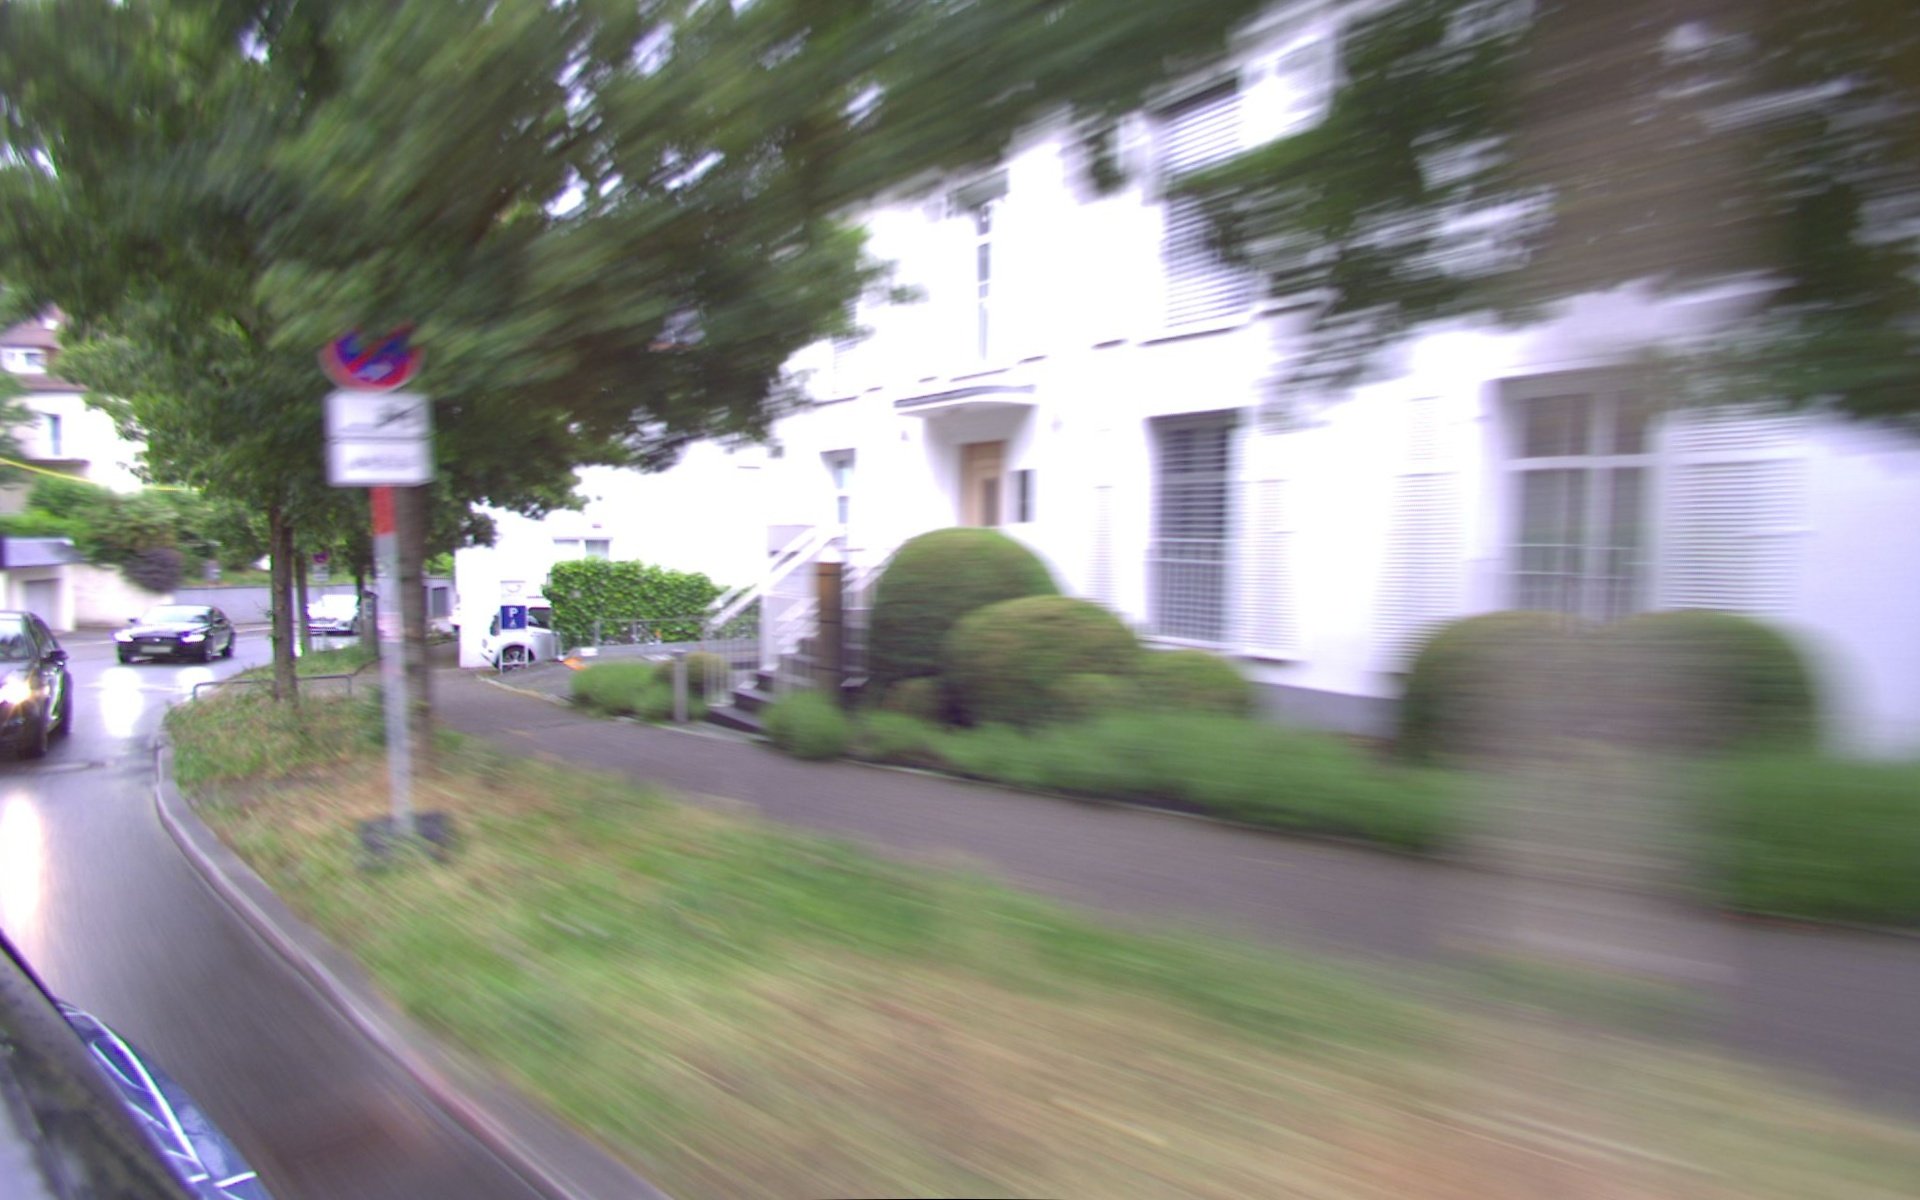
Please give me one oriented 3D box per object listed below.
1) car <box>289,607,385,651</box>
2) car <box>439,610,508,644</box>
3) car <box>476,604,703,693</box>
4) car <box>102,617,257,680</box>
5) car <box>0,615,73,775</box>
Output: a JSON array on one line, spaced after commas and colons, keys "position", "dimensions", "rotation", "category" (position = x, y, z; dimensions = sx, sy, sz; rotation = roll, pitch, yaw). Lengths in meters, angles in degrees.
[{"position": [-26.261, 1.183, 42.835], "dimensions": [1.981, 1.674, 4.456], "rotation": [2, 0, -11], "category": "car"}, {"position": [-24.048, 1.309, 50.154], "dimensions": [1.661, 1.520, 4.321], "rotation": [-2, 0, -6], "category": "car"}, {"position": [-7.251, 0.914, 19.855], "dimensions": [3.931, 1.573, 1.755], "rotation": [1, -1, -29], "category": "car"}, {"position": [-20.178, 1.216, 26.387], "dimensions": [1.778, 1.500, 4.028], "rotation": [0, -1, -15], "category": "car"}, {"position": [-10.338, 0.959, 10.360], "dimensions": [1.553, 1.463, 3.594], "rotation": [2, -4, -37], "category": "car"}]
